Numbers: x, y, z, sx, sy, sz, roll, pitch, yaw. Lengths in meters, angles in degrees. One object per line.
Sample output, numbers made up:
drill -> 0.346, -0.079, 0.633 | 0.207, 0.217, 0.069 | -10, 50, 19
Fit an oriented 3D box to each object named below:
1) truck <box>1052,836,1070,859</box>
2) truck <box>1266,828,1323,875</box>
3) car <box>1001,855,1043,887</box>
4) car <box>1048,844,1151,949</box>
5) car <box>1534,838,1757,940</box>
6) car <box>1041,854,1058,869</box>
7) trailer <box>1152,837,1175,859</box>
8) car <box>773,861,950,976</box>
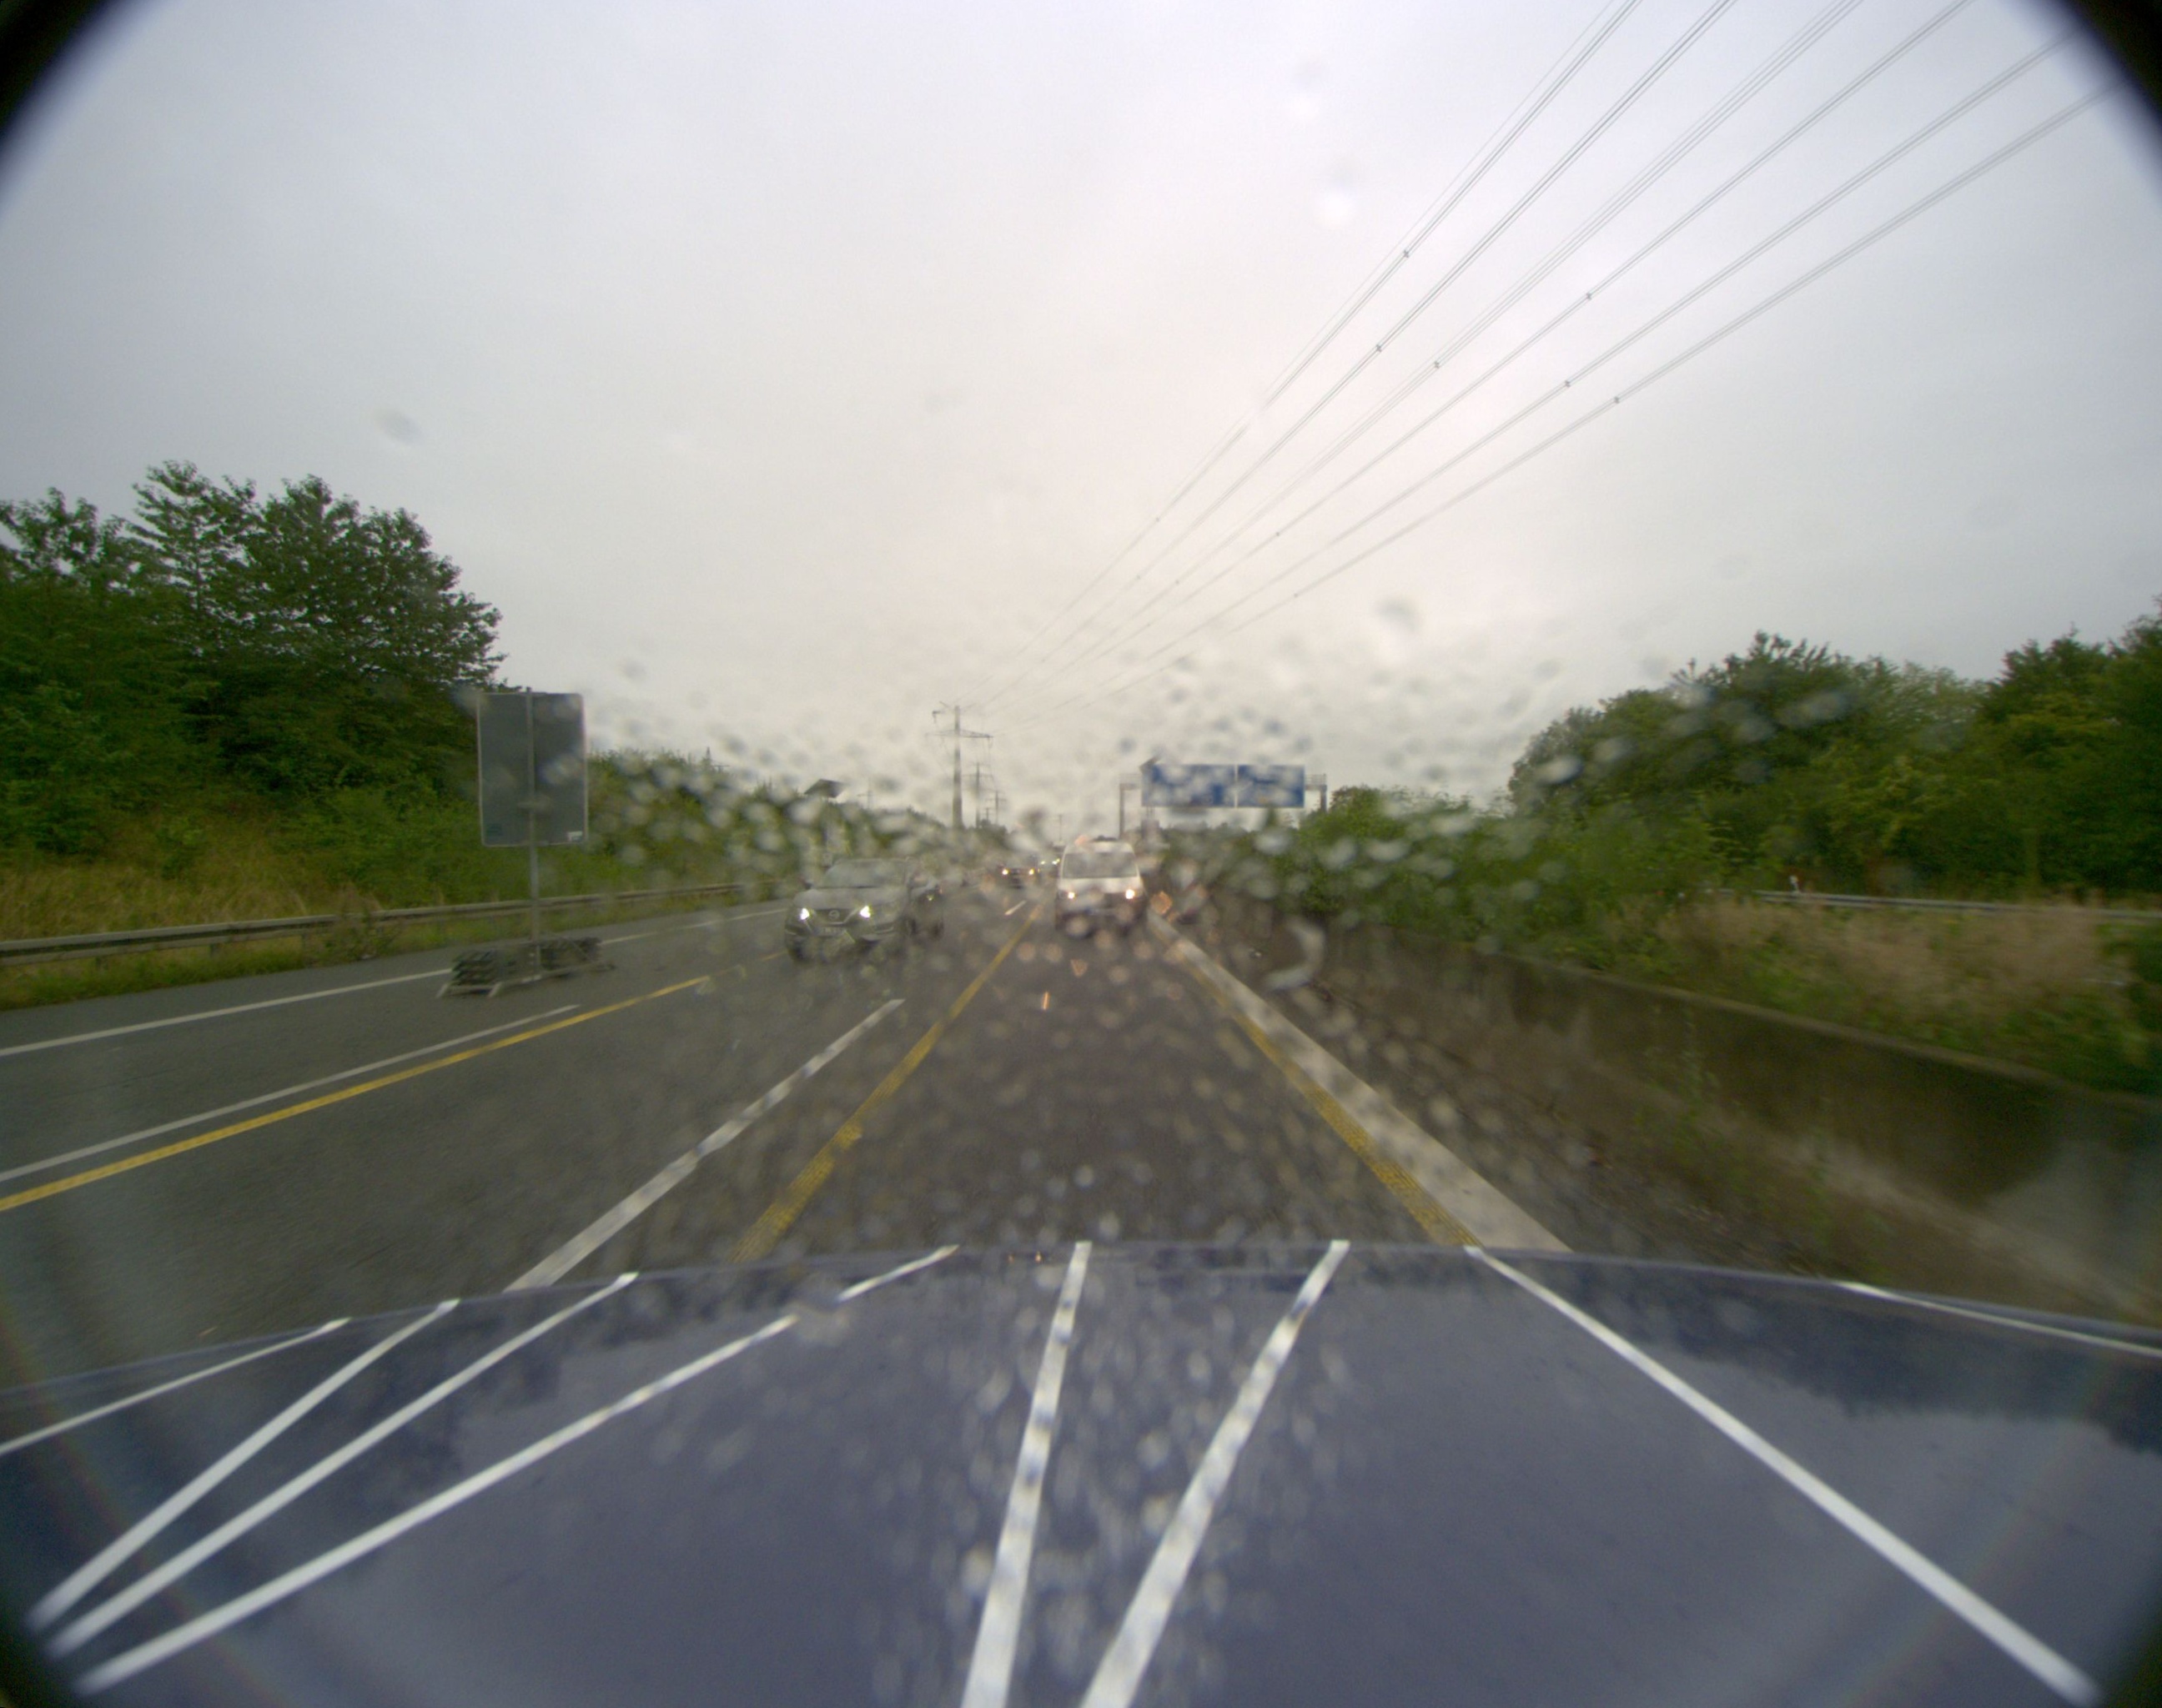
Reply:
truck -> -3.560, -1.180, 136.814 | 2.875, 4.007, 8.308 | 0, 1, 1
truck -> 15.881, -0.191, 56.970 | 2.266, 3.209, 7.051 | 2, 1, 1
car -> -2.880, 0.794, 37.775 | 1.804, 1.432, 4.149 | -1, 0, -1
car -> 0.329, 0.731, 15.433 | 1.768, 1.803, 4.345 | -1, 0, 0
car -> 11.833, 0.644, 16.349 | 1.737, 1.922, 4.160 | 0, 1, 1
car -> -3.539, 0.812, 86.942 | 1.804, 1.598, 4.149 | -1, 0, -1
trailer -> 16.077, -1.121, 149.233 | 2.793, 4.000, 13.249 | 2, 0, 0
car -> -3.461, 0.936, 12.816 | 1.804, 1.523, 4.149 | -1, 0, -1
